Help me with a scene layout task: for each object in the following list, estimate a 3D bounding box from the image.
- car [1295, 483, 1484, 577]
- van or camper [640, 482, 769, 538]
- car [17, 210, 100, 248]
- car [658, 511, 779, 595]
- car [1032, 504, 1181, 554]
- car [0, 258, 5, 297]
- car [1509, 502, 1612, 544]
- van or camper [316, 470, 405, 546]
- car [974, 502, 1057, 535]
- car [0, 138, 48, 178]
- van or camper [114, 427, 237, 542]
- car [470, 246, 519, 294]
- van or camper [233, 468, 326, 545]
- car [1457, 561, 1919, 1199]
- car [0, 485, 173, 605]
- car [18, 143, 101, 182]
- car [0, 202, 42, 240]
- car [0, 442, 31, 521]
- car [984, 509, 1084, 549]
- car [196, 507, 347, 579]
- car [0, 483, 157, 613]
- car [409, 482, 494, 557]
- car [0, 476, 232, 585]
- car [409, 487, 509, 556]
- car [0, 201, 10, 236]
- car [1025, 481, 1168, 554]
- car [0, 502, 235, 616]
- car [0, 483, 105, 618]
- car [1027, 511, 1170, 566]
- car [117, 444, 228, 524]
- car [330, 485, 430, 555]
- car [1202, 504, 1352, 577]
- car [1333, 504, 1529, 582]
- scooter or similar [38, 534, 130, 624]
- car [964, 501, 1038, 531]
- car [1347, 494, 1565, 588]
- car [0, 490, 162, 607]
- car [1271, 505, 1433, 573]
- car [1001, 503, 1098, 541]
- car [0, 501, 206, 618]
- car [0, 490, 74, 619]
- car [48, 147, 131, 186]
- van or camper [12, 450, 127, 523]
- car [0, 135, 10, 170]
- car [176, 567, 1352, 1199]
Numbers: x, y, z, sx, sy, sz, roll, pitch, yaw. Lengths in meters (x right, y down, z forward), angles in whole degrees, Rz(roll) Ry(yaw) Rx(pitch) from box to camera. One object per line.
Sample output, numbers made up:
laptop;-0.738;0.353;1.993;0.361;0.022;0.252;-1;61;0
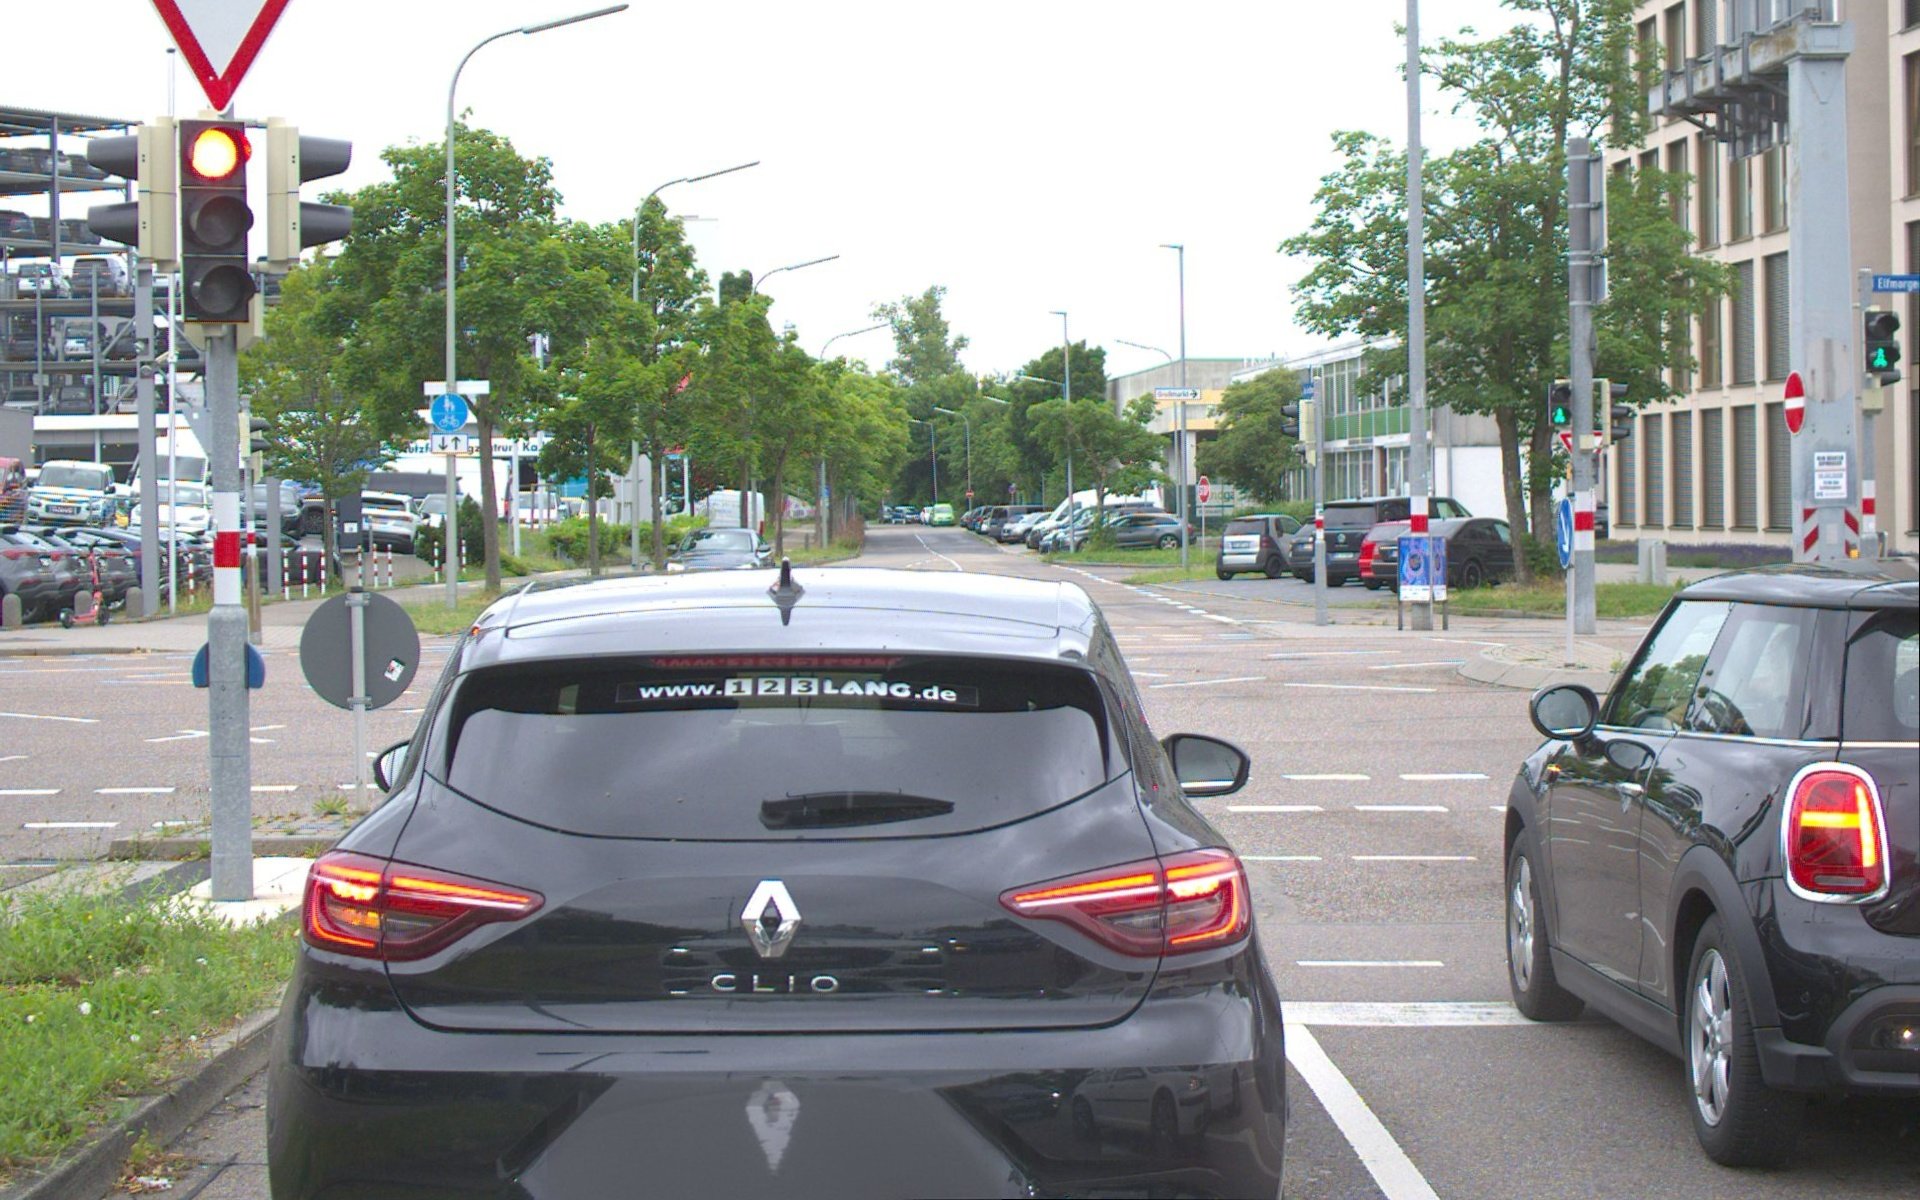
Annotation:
car;9.297;-1.499;74.231;1.998;1.959;4.235;0;1;41
van or camper;-11.300;-3.973;152.229;5.598;2.363;2.000;1;0;-1
car;-47.047;-19.350;179.466;3.994;1.661;1.997;1;2;32
car;-4.651;-0.945;66.856;1.978;1.546;4.614;-1;2;0
car;5.261;-2.533;123.683;5.173;1.714;2.144;1;0;-2
car;-51.375;-16.388;174.924;5.322;1.938;2.207;1;2;28
car;19.384;-2.482;110.936;3.231;1.328;1.485;1;0;10
van or camper;-16.509;-2.521;94.851;1.993;2.007;4.001;1;1;-4
car;3.509;-5.194;219.041;5.173;2.007;2.144;1;0;-1
car;-48.905;-22.650;176.240;3.994;1.661;1.997;1;2;32
van or camper;-21.555;-3.133;94.660;2.535;3.016;4.844;1;1;-4
car;-21.483;-15.220;158.667;1.993;1.876;4.001;-1;1;-5
van or camper;-18.708;-2.549;94.659;1.993;2.007;4.001;1;1;-4
car;2.524;0.615;9.250;1.786;1.411;3.643;1;1;-1
car;-16.700;-0.940;61.668;4.772;2.007;2.000;-3;1;-6
car;-47.065;-22.825;179.592;3.994;1.661;1.997;1;2;32
car;-49.180;-19.391;176.114;3.994;1.661;1.997;1;2;32
car;-23.999;-2.874;83.541;1.993;1.842;4.001;1;1;-4
car;3.901;-3.756;182.155;5.173;2.007;2.144;1;0;-1
car;-19.791;-1.631;98.909;3.986;2.007;2.000;1;0;-3
car;-15.967;-0.782;56.549;5.022;2.007;2.266;-3;1;-5
car;-14.031;-2.203;95.061;1.993;2.007;4.001;1;1;-4
car;-17.477;-1.396;70.000;4.892;2.007;2.000;-3;1;-5
car;-12.267;-1.905;84.390;1.993;1.612;4.000;1;1;-2
car;-50.275;-19.306;174.158;3.994;1.661;1.997;1;2;32
car;6.007;-3.625;151.565;6.116;3.105;2.134;1;0;-1
car;-16.826;-0.793;67.208;4.892;2.007;2.000;-3;1;-5
car;-15.913;-0.690;53.542;4.700;2.007;2.000;-3;1;-4
car;5.188;-2.297;128.969;5.173;2.007;2.144;1;0;-2
car;-19.077;-2.790;83.429;1.993;1.817;4.001;1;1;-4
car;-14.016;-1.922;83.257;1.993;1.612;4.001;1;1;-4
car;7.755;-1.443;83.949;3.424;1.726;1.765;0;1;-42
car;9.754;-1.175;71.034;1.887;1.546;4.123;0;1;45
scooter or similar;-12.297;-0.306;48.308;0.557;1.214;1.559;2;2;13
car;2.728;-5.620;229.853;4.785;1.885;2.144;1;0;-2
car;9.635;-1.142;66.646;4.121;1.762;1.888;-1;1;-40
car;-16.420;-0.826;59.177;4.945;1.870;2.054;-3;1;-6
car;8.867;-1.377;77.636;1.696;1.506;3.808;0;1;43
car;4.539;-3.978;175.548;4.785;1.885;2.144;1;0;-2
car;-16.795;-0.735;64.488;4.892;2.007;2.000;-3;1;-5
car;-15.779;-0.584;50.973;4.771;1.856;2.000;-3;1;-5
car;-45.968;-22.878;181.535;3.994;1.661;1.997;1;2;32
van or camper;-21.545;-2.722;83.304;1.993;1.645;4.001;1;1;-4
car;-50.295;-22.652;174.131;3.994;1.661;1.997;1;2;32
car;-0.320;0.658;7.175;1.757;1.430;4.000;1;1;-1
